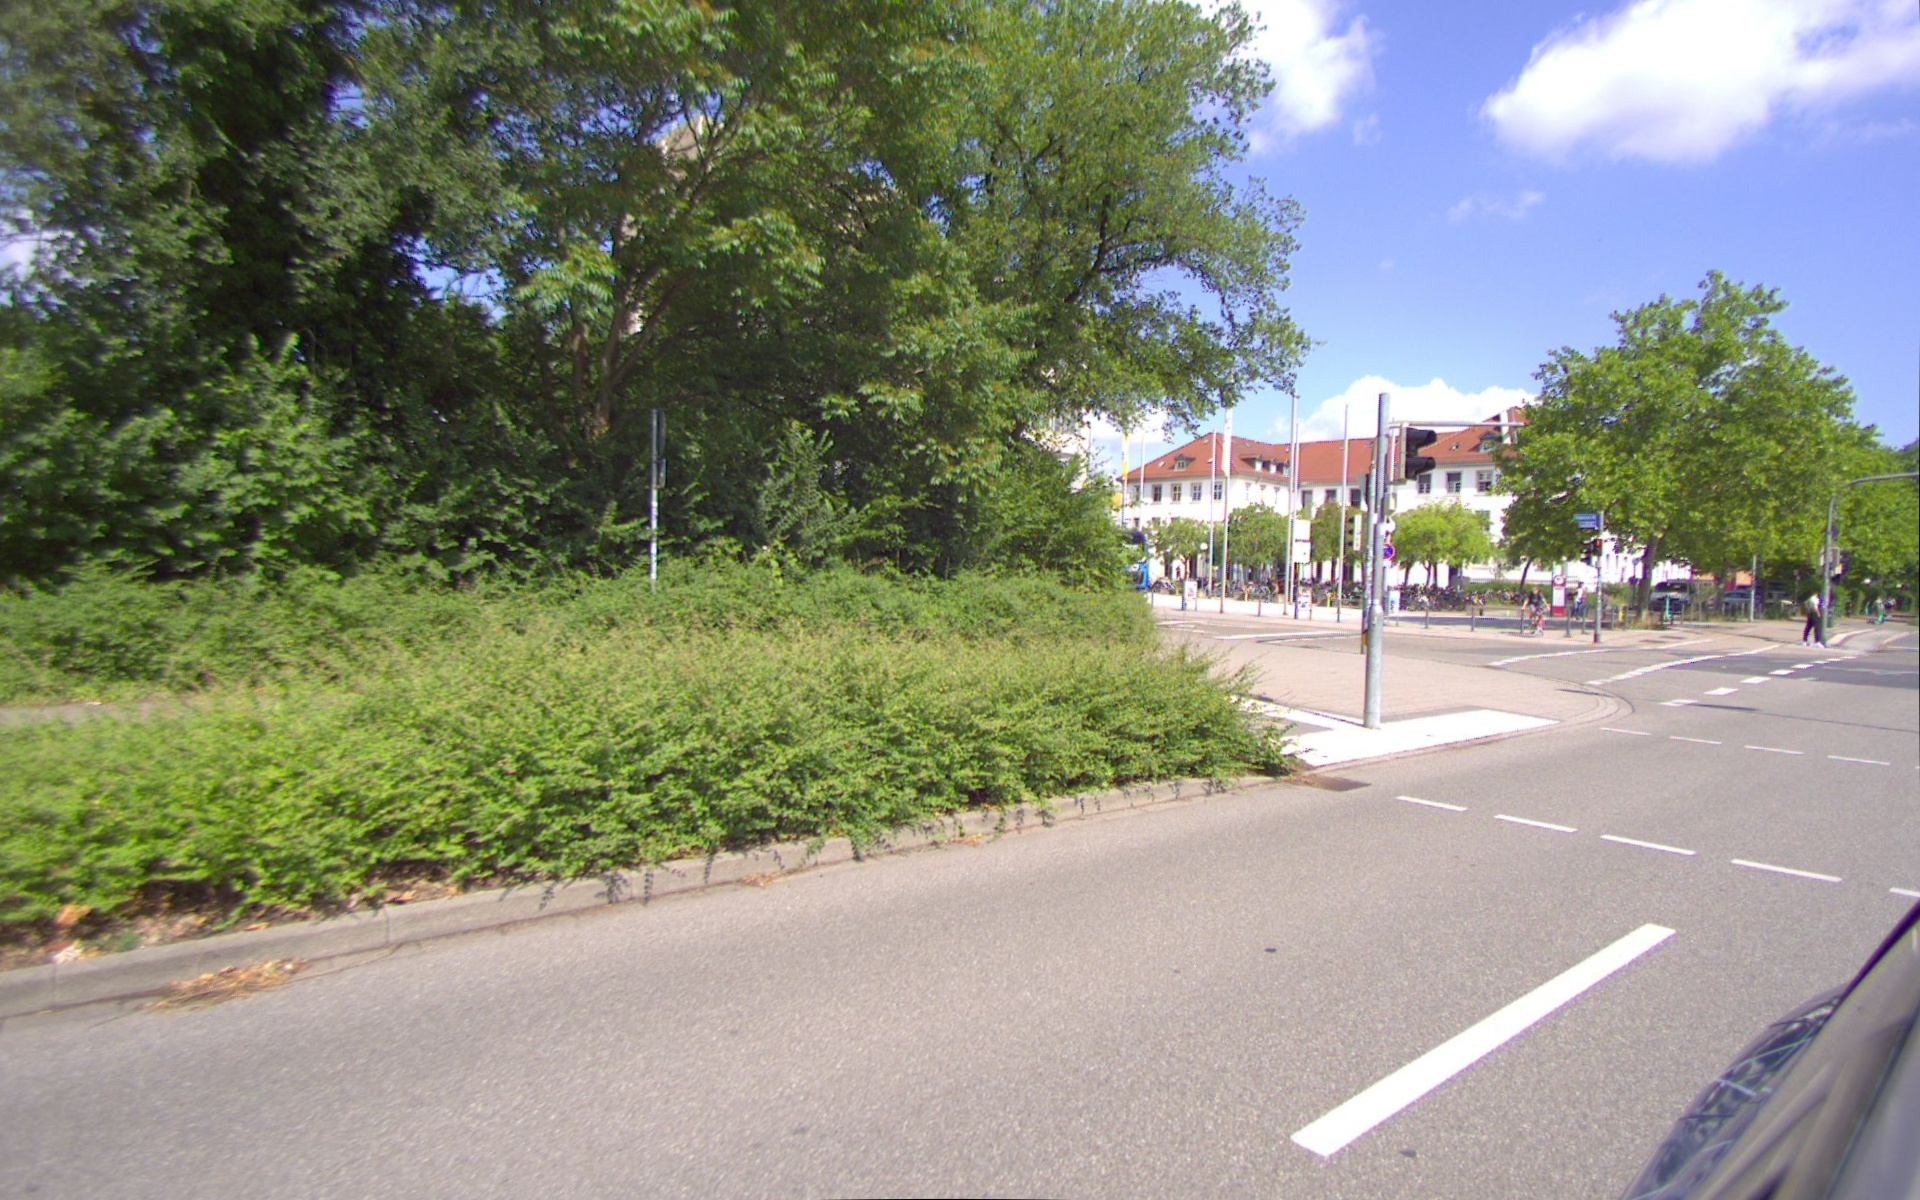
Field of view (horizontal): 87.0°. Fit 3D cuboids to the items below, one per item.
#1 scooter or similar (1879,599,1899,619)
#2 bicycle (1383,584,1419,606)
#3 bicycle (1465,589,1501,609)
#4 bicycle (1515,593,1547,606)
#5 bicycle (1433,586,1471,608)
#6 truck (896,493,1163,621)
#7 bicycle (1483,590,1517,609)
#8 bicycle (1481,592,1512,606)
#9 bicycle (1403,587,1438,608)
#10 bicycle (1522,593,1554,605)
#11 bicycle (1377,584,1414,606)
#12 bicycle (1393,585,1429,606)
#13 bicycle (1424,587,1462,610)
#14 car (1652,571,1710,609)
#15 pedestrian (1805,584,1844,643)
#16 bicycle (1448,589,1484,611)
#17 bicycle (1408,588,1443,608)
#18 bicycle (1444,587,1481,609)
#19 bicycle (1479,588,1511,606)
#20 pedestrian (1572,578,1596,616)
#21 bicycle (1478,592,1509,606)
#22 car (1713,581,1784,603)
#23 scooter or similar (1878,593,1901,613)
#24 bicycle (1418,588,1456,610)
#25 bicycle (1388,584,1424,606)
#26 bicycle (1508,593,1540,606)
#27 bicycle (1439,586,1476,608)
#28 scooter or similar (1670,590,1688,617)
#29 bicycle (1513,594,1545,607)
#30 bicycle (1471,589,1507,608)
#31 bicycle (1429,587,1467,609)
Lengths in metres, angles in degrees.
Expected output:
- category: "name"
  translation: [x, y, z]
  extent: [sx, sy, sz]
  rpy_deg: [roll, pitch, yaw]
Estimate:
- category: "scooter or similar"
  translation: [52.632, 0.507, 57.346]
  extent: [1.413, 1.091, 0.519]
  rpy_deg: [1, 2, -34]
- category: "bicycle"
  translation: [23.895, -0.280, 54.839]
  extent: [1.668, 1.110, 0.617]
  rpy_deg: [3, 2, 43]
- category: "bicycle"
  translation: [29.172, -0.044, 56.463]
  extent: [1.668, 1.048, 0.617]
  rpy_deg: [3, 2, 43]
- category: "bicycle"
  translation: [36.908, -0.050, 65.442]
  extent: [1.668, 0.743, 0.617]
  rpy_deg: [3, 2, 43]
- category: "bicycle"
  translation: [26.269, -0.156, 54.034]
  extent: [1.668, 1.110, 0.617]
  rpy_deg: [3, 2, 43]
- category: "truck"
  translation: [2.082, -1.629, 35.754]
  extent: [2.734, 3.928, 10.118]
  rpy_deg: [-1, 4, -44]
- category: "bicycle"
  translation: [31.777, -0.037, 59.585]
  extent: [1.668, 1.040, 0.617]
  rpy_deg: [3, 2, 43]
- category: "bicycle"
  translation: [34.809, -0.081, 65.694]
  extent: [1.667, 0.800, 0.617]
  rpy_deg: [3, 2, 42]
- category: "bicycle"
  translation: [25.949, -0.157, 57.012]
  extent: [1.668, 1.110, 0.617]
  rpy_deg: [3, 2, 43]
- category: "bicycle"
  translation: [37.579, -0.067, 65.777]
  extent: [1.668, 0.743, 0.617]
  rpy_deg: [3, 2, 43]
- category: "bicycle"
  translation: [23.394, -0.276, 54.345]
  extent: [1.668, 1.110, 0.617]
  rpy_deg: [3, 2, 43]
- category: "bicycle"
  translation: [24.902, -0.271, 55.928]
  extent: [1.668, 1.110, 0.617]
  rpy_deg: [3, 2, 43]
- category: "bicycle"
  translation: [25.321, -0.098, 53.120]
  extent: [1.668, 1.110, 0.617]
  rpy_deg: [3, 2, 43]
- category: "car"
  translation: [41.475, -0.549, 58.175]
  extent: [1.994, 2.038, 4.825]
  rpy_deg: [3, 2, 44]
- category: "pedestrian"
  translation: [28.331, 0.437, 33.161]
  extent: [0.926, 1.847, 0.701]
  rpy_deg: [0, 5, -41]
- category: "bicycle"
  translation: [27.929, -0.014, 55.882]
  extent: [1.668, 1.110, 0.617]
  rpy_deg: [3, 2, 43]
- category: "bicycle"
  translation: [26.548, -0.126, 57.700]
  extent: [1.668, 1.110, 0.617]
  rpy_deg: [3, 2, 43]
- category: "bicycle"
  translation: [27.491, -0.126, 55.375]
  extent: [1.668, 1.110, 0.617]
  rpy_deg: [3, 2, 43]
- category: "bicycle"
  translation: [33.754, -0.191, 63.906]
  extent: [1.668, 1.110, 0.617]
  rpy_deg: [3, 2, 43]
- category: "pedestrian"
  translation: [28.498, -0.144, 46.213]
  extent: [0.628, 1.670, 0.741]
  rpy_deg: [2, 1, 6]
- category: "bicycle"
  translation: [34.343, -0.077, 65.198]
  extent: [1.667, 0.800, 0.617]
  rpy_deg: [3, 2, 42]
- category: "car"
  translation: [57.539, -0.598, 73.873]
  extent: [3.982, 1.442, 1.732]
  rpy_deg: [3, 2, 40]
- category: "scooter or similar"
  translation: [54.337, 0.172, 59.168]
  extent: [1.341, 1.084, 0.519]
  rpy_deg: [1, 1, -27]
- category: "bicycle"
  translation: [24.844, -0.059, 52.688]
  extent: [1.668, 1.110, 0.617]
  rpy_deg: [3, 2, 43]
- category: "bicycle"
  translation: [24.410, -0.265, 55.421]
  extent: [1.668, 1.110, 0.617]
  rpy_deg: [3, 2, 43]
- category: "bicycle"
  translation: [35.650, -0.031, 63.989]
  extent: [1.668, 0.743, 0.617]
  rpy_deg: [3, 2, 43]
- category: "bicycle"
  translation: [26.810, -0.142, 54.573]
  extent: [1.668, 1.110, 0.617]
  rpy_deg: [3, 2, 43]
- category: "scooter or similar"
  translation: [31.784, 0.160, 44.710]
  extent: [1.147, 1.142, 0.347]
  rpy_deg: [0, 2, -41]
- category: "bicycle"
  translation: [36.403, 0.023, 64.709]
  extent: [1.668, 0.743, 0.617]
  rpy_deg: [3, 2, 43]
- category: "bicycle"
  translation: [29.738, -0.099, 56.892]
  extent: [1.668, 0.997, 0.617]
  rpy_deg: [3, 2, 43]
- category: "bicycle"
  translation: [25.823, -0.104, 53.543]
  extent: [1.668, 1.110, 0.617]
  rpy_deg: [3, 2, 43]
